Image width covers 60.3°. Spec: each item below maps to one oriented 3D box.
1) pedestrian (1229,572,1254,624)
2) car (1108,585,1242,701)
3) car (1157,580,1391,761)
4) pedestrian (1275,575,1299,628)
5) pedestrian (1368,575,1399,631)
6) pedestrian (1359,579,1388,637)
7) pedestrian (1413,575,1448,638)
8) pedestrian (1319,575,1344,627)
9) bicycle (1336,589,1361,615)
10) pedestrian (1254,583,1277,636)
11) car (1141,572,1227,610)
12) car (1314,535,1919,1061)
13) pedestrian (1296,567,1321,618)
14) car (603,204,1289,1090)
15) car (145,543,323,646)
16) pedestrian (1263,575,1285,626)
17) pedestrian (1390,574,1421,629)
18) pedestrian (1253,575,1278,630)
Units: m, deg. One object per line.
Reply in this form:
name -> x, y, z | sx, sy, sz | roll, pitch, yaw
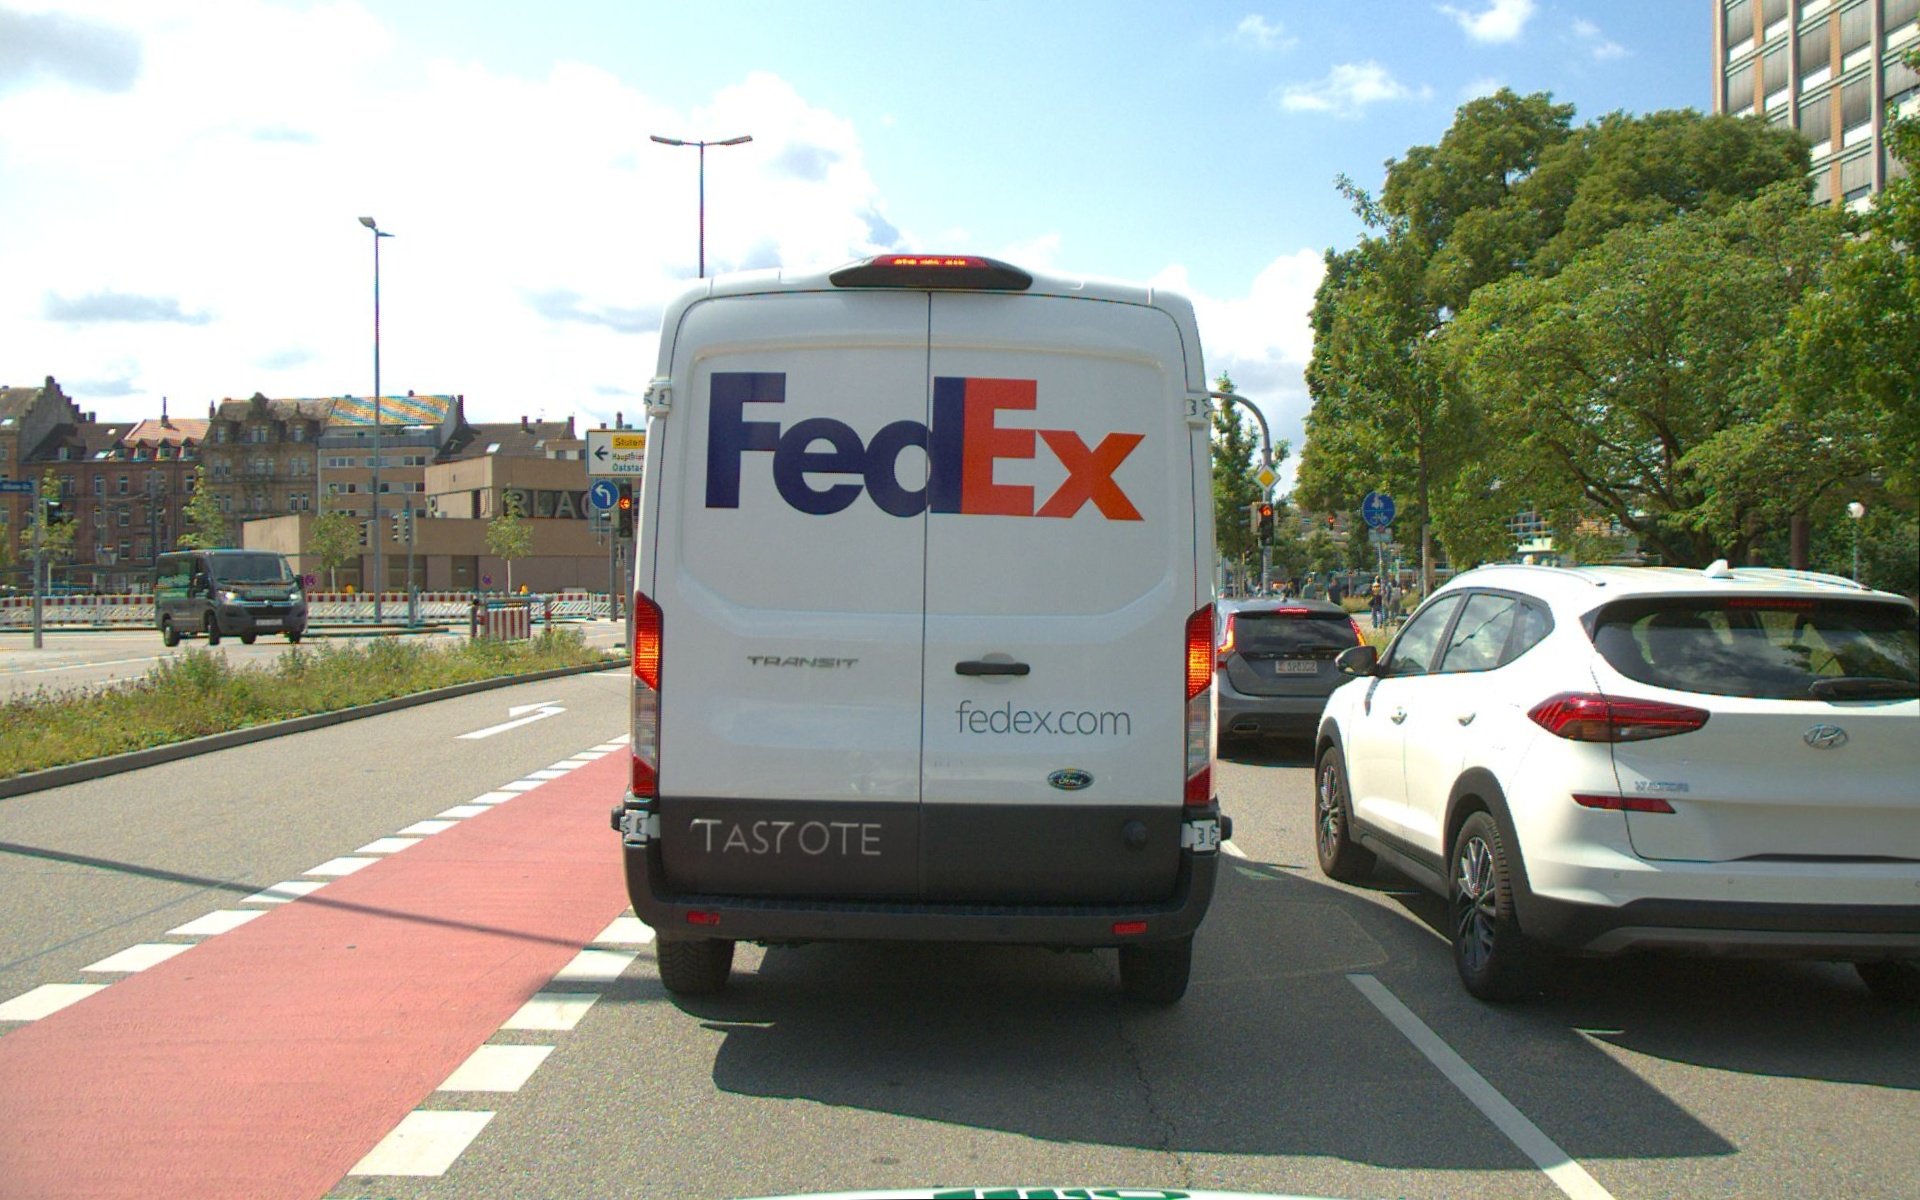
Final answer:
pedestrian -> 10.233, -0.075, 60.124 | 0.796, 1.882, 0.761 | 0, 0, 2
car -> 2.950, 0.540, 23.273 | 1.468, 1.489, 3.474 | 0, 1, 1
car -> 2.979, 0.600, 16.384 | 1.656, 1.576, 3.721 | 0, 1, 1
pedestrian -> 11.879, 0.050, 60.074 | 0.743, 1.882, 0.816 | 0, 0, 18
pedestrian -> 14.446, 0.092, 56.454 | 0.745, 1.882, 0.814 | -1, 0, -11
pedestrian -> 13.452, 0.251, 53.852 | 0.743, 1.882, 0.816 | 0, 0, 2
pedestrian -> 12.565, 0.168, 44.176 | 0.743, 1.684, 0.816 | 0, 0, 3
pedestrian -> 13.477, 0.038, 59.954 | 0.743, 1.882, 0.816 | 0, 0, 3
bicycle -> 22.945, 0.095, 97.630 | 1.395, 1.489, 4.314 | 0, 1, 14
pedestrian -> 10.936, 0.339, 59.206 | 0.742, 1.882, 0.817 | 0, 0, 14
car -> 17.435, -0.699, 128.466 | 7.012, 2.765, 2.462 | 1, -1, -38
car -> 2.869, 0.619, 7.364 | 1.777, 1.708, 3.974 | 0, 1, 1
pedestrian -> 12.846, -0.279, 61.001 | 0.743, 1.882, 0.816 | 0, 0, 1
car -> -0.013, 0.117, 7.144 | 2.030, 2.626, 4.428 | 0, 1, 1
car -> -16.988, -0.088, 38.599 | 2.139, 2.213, 4.936 | -3, 1, -44
pedestrian -> 11.745, 0.017, 61.886 | 0.742, 1.882, 0.817 | 0, 0, 5
pedestrian -> 15.221, 0.041, 56.549 | 0.745, 1.882, 0.814 | 0, 0, -9
pedestrian -> 10.497, 0.076, 56.843 | 0.743, 1.882, 0.816 | 0, 0, 18
